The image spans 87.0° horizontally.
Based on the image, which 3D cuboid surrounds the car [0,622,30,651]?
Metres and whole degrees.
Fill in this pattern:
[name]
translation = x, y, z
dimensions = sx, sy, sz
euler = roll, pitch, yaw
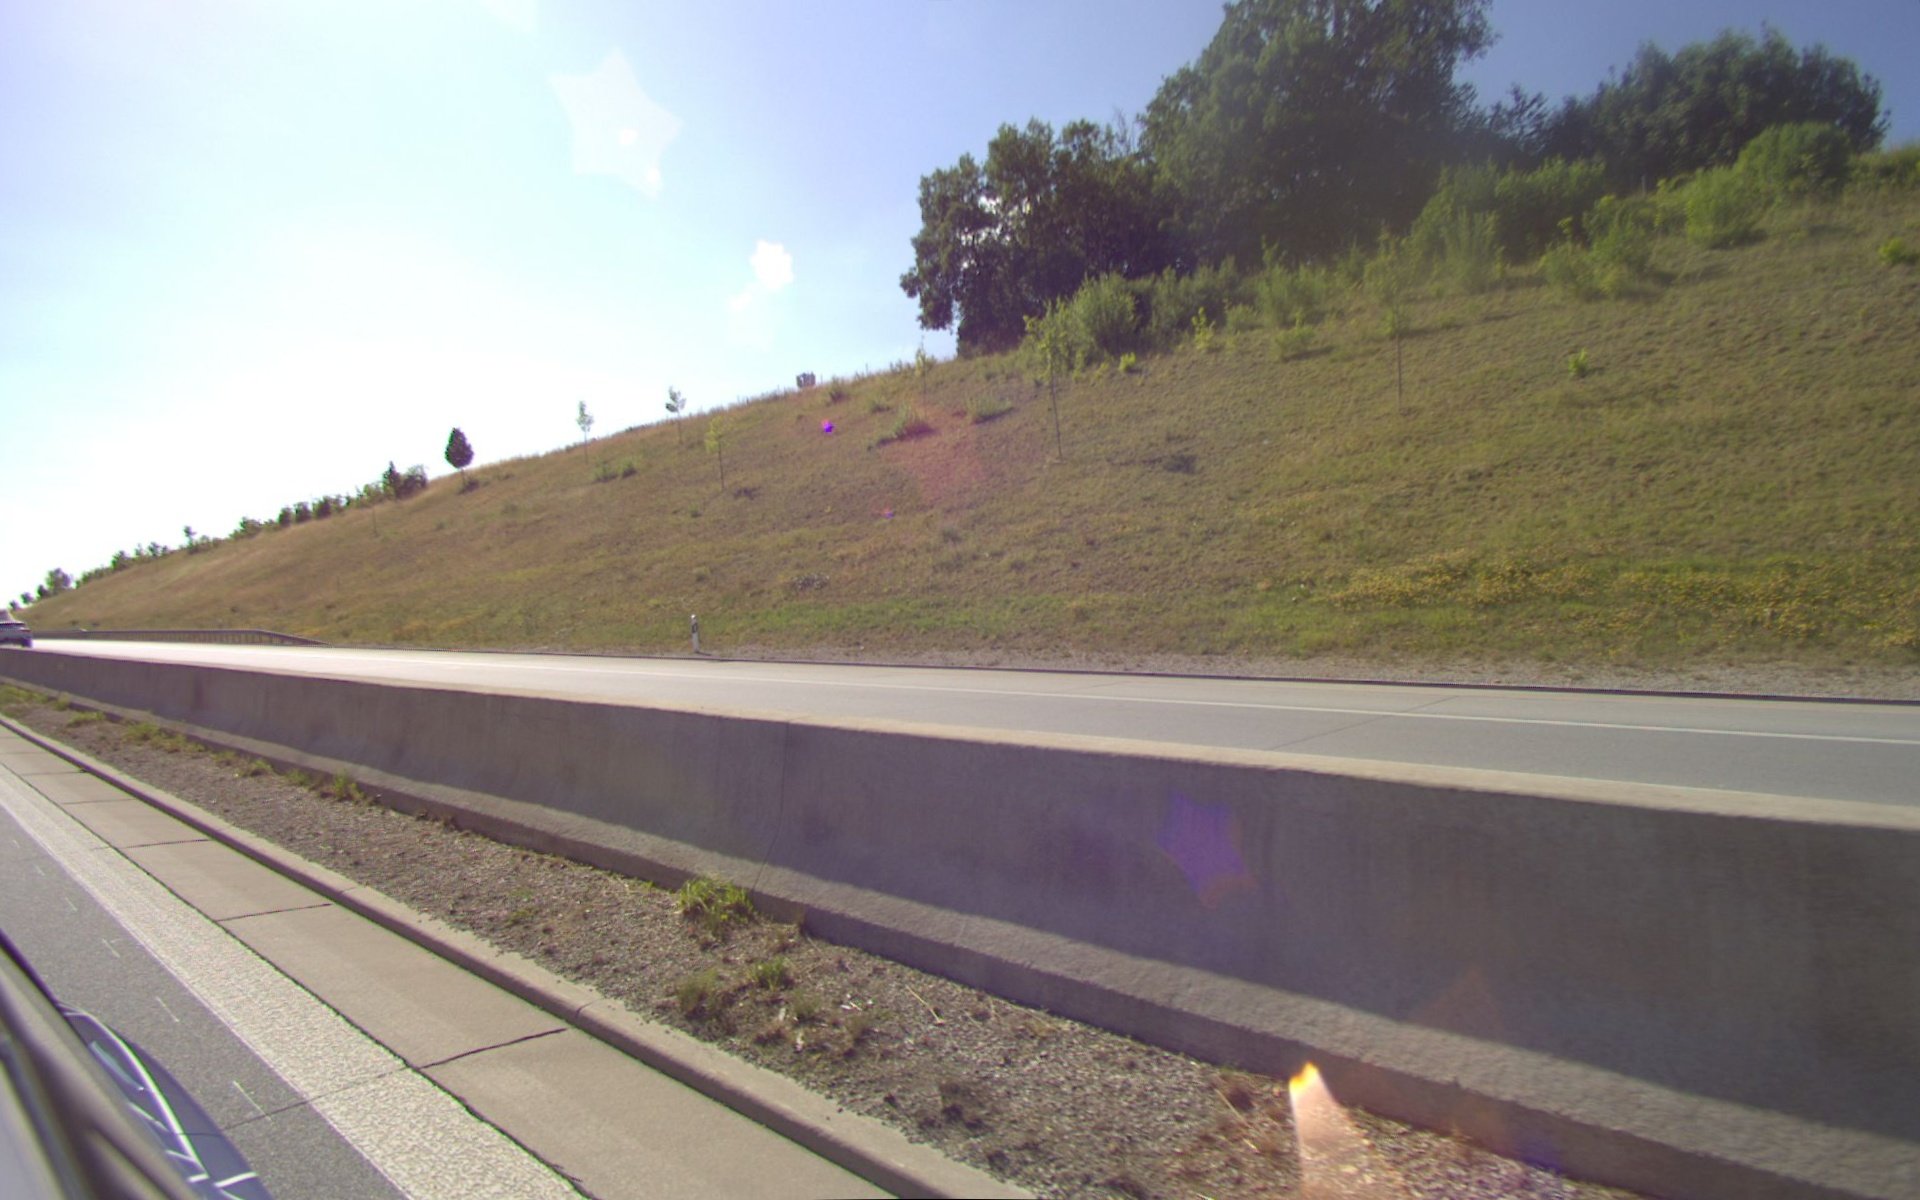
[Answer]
[car]
translation = -55.278, 2.114, 58.544
dimensions = 4.037, 1.613, 1.757
euler = -2, 0, 41
